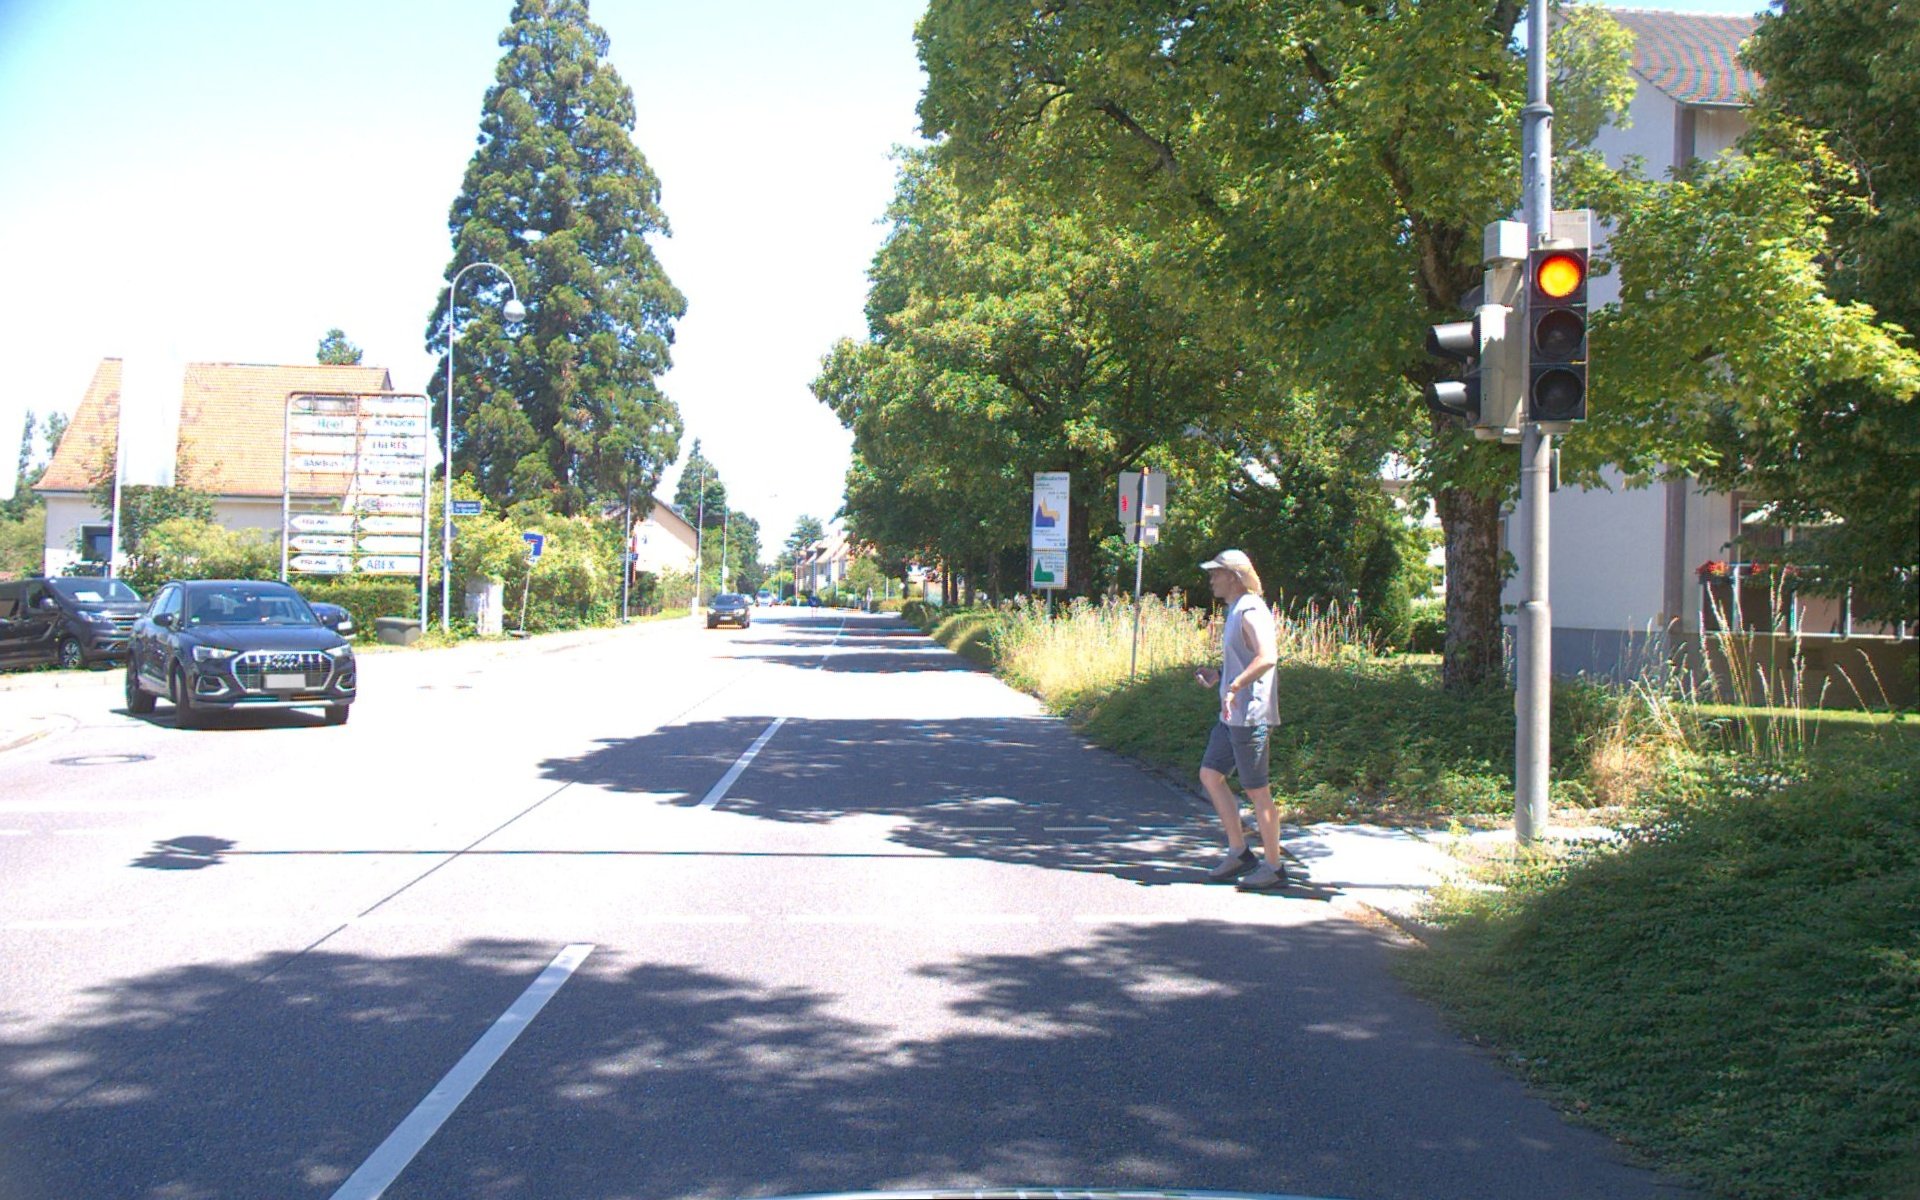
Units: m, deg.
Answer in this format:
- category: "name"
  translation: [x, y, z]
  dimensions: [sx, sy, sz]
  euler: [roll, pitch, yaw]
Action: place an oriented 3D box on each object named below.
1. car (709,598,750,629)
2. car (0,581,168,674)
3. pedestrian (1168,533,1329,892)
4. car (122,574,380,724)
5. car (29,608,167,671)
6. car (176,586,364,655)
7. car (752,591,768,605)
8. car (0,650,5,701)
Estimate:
- category: "car"
  translation: [-10.219, 0.601, 73.494]
  dimensions: [1.402, 1.345, 3.354]
  euler: [1, 0, -1]
- category: "car"
  translation: [-17.489, 0.536, 32.563]
  dimensions: [3.089, 1.744, 1.569]
  euler: [1, -1, -11]
- category: "pedestrian"
  translation: [1.504, 0.561, 8.630]
  dimensions: [0.604, 1.781, 0.558]
  euler: [0, -1, 43]
- category: "car"
  translation: [-8.384, 0.535, 19.350]
  dimensions: [1.907, 1.553, 4.252]
  euler: [-1, -1, -36]
- category: "car"
  translation: [-20.574, 0.934, 39.538]
  dimensions: [2.601, 1.452, 1.344]
  euler: [0, 0, -3]
- category: "car"
  translation: [-14.843, 0.428, 35.702]
  dimensions: [3.425, 1.452, 1.598]
  euler: [0, 0, -8]
- category: "car"
  translation: [-22.397, -0.187, 185.226]
  dimensions: [1.525, 1.473, 3.786]
  euler: [1, 0, -5]
- category: "car"
  translation: [-24.649, 1.880, 39.769]
  dimensions: [1.713, 1.247, 3.240]
  euler: [1, 0, -6]
